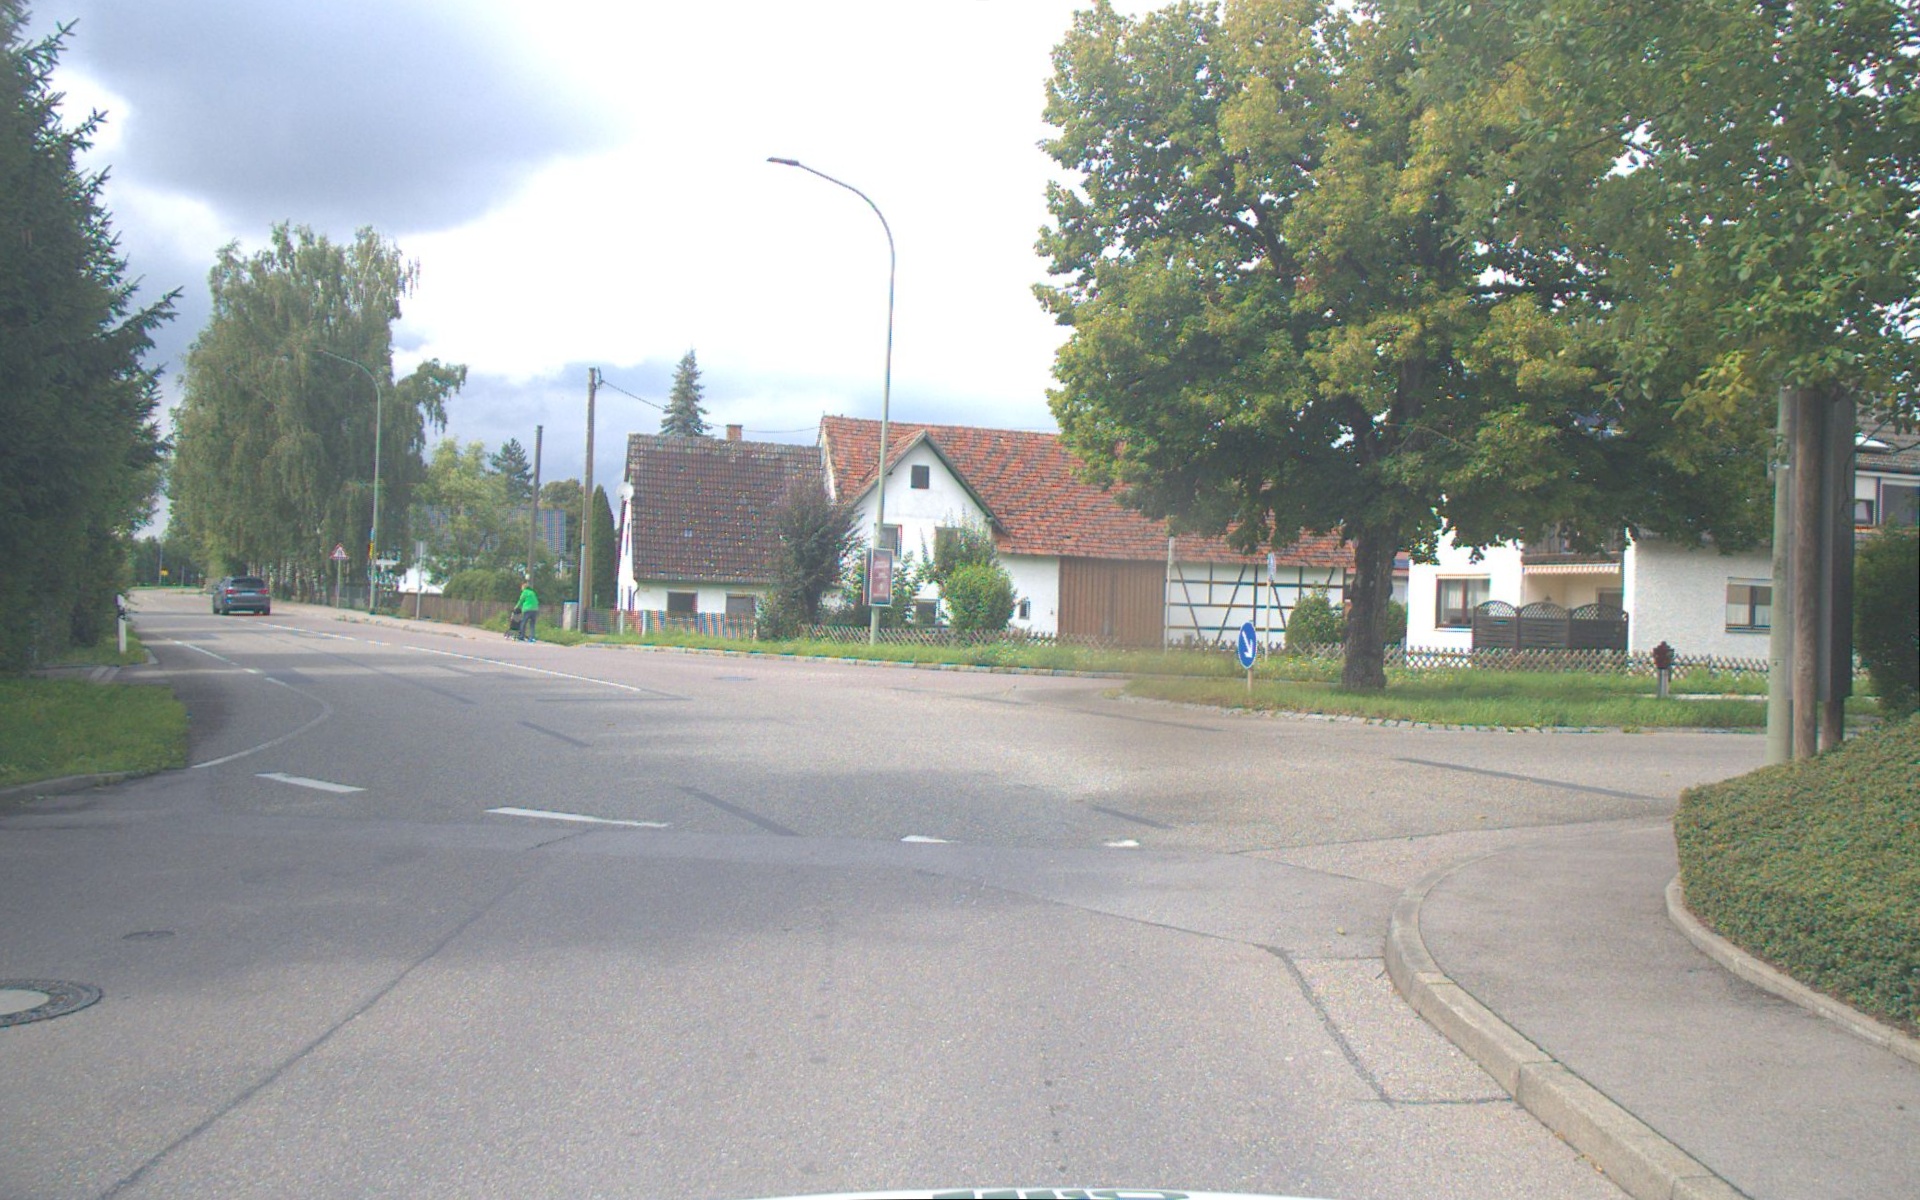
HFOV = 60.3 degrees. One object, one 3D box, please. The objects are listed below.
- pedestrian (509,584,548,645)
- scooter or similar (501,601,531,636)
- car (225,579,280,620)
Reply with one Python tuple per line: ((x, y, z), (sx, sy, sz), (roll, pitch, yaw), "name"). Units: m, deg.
((-12.609, 0.428, 48.325), (0.782, 1.694, 0.704), (7, -3, -34), "pedestrian")
((-13.126, 0.543, 48.896), (0.625, 0.964, 0.615), (7, -3, -34), "scooter or similar")
((-29.161, -0.039, 68.129), (1.968, 1.579, 3.970), (3, 0, -24), "car")
